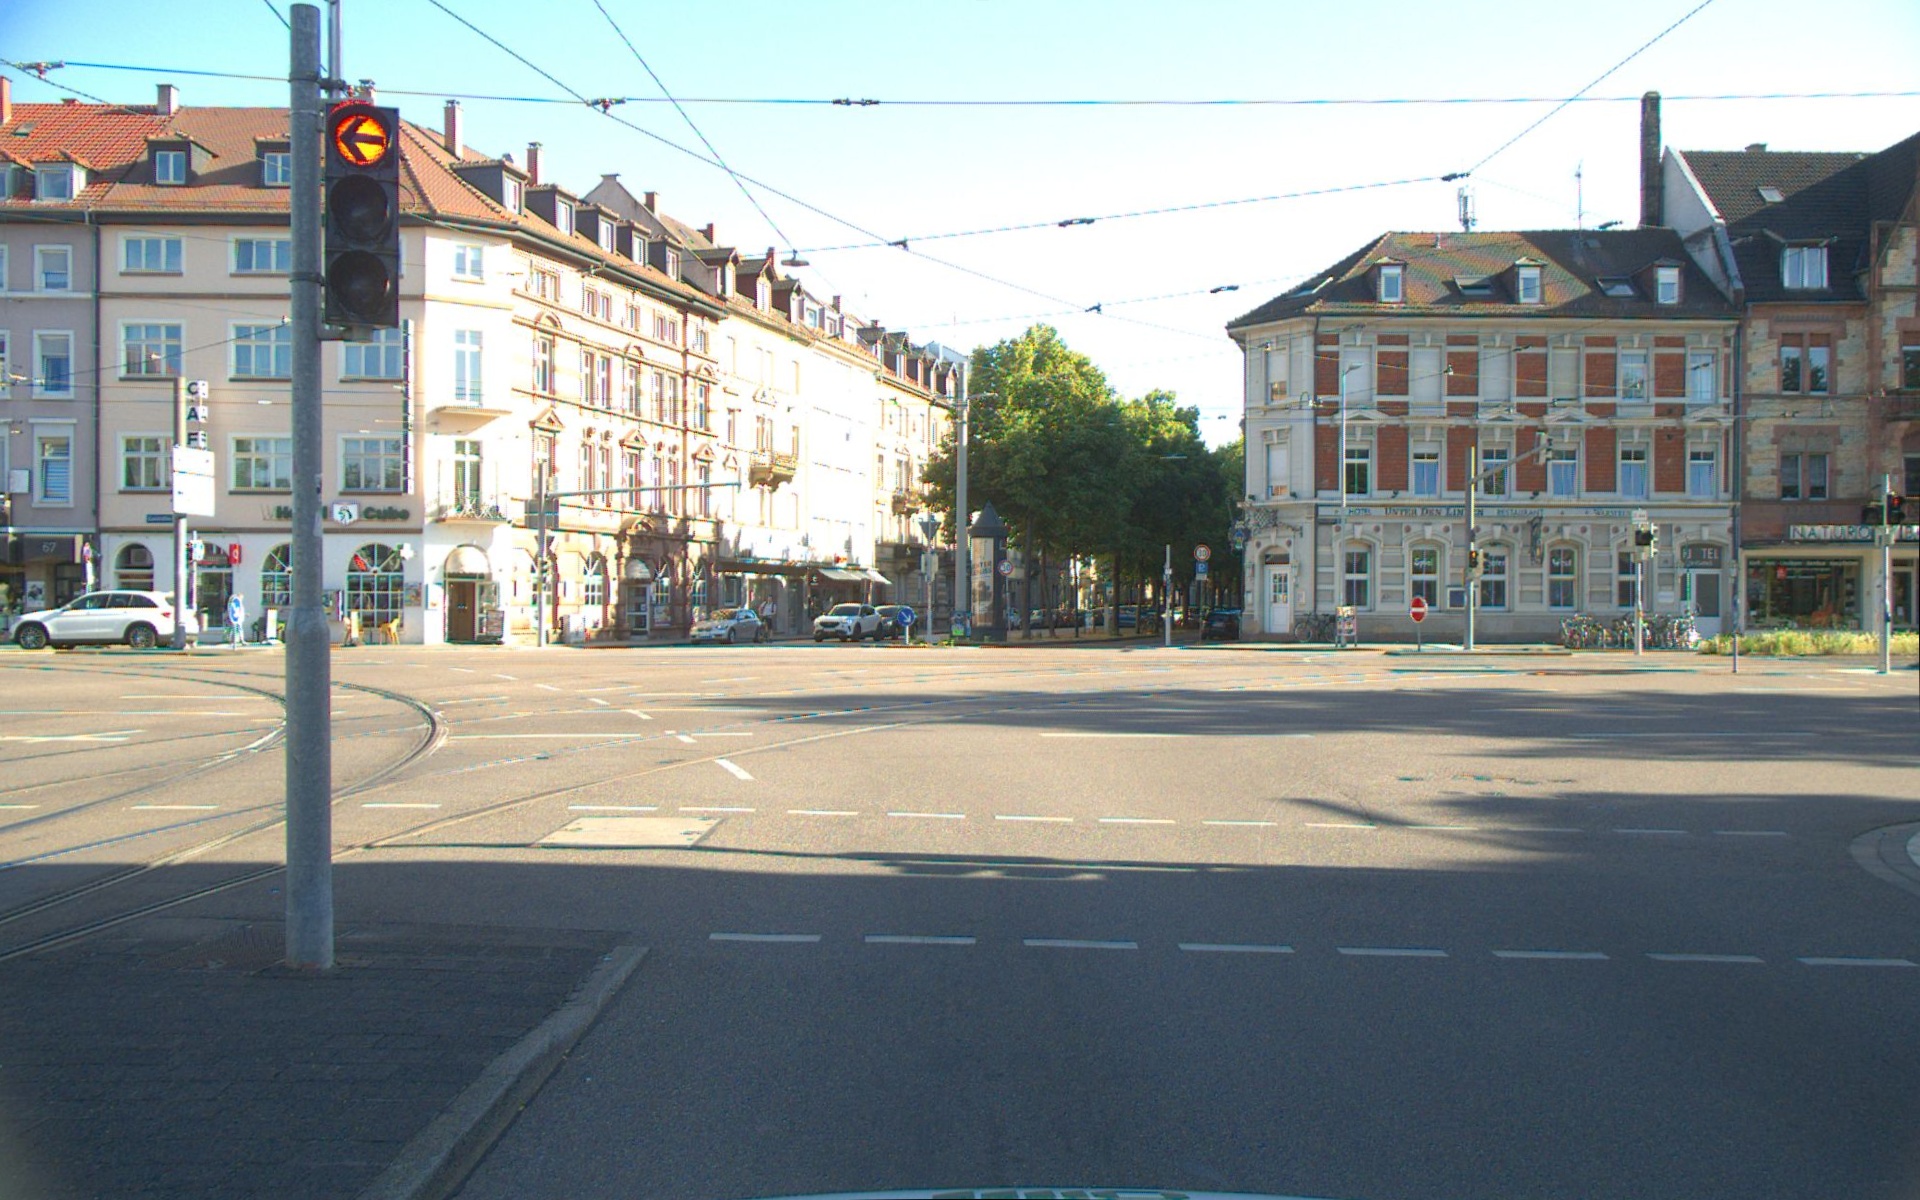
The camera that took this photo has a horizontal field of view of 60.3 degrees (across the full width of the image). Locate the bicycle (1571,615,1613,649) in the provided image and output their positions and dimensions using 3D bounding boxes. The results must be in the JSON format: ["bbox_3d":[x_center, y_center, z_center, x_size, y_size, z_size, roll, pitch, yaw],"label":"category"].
[{"bbox_3d":[20.465,1.038,53.567,0.593,1.069,1.641,0,0,-6],"label":"bicycle"}]

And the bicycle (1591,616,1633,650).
[{"bbox_3d":[21.116,1.050,53.593,0.593,1.069,1.641,0,0,-6],"label":"bicycle"}]

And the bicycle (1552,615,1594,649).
[{"bbox_3d":[19.824,1.027,53.511,0.593,1.069,1.641,0,0,-6],"label":"bicycle"}]

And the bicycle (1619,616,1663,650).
[{"bbox_3d":[21.942,1.063,53.325,0.593,1.069,1.641,0,0,-6],"label":"bicycle"}]

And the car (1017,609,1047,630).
[{"bbox_3d":[5.336,1.415,122.840,1.704,1.422,4.127,3,0,9],"label":"car"}]

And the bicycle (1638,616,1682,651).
[{"bbox_3d":[22.603,1.075,53.401,0.593,1.069,1.641,0,0,-6],"label":"bicycle"}]

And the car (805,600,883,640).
[{"bbox_3d":[-4.652,0.791,67.080,2.052,1.525,4.003,0,0,13],"label":"car"}]

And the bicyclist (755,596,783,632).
[{"bbox_3d":[-7.560,0.545,65.465,0.776,1.399,1.109,0,0,14],"label":"bicyclist"}]

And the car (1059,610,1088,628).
[{"bbox_3d":[9.423,1.576,136.502,1.704,1.422,4.127,3,0,13],"label":"car"}]

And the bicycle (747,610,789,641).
[{"bbox_3d":[-7.574,0.996,65.495,0.734,1.155,2.812,0,0,14],"label":"bicycle"}]

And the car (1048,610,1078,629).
[{"bbox_3d":[8.246,1.539,131.706,1.704,1.422,4.127,3,0,13],"label":"car"}]

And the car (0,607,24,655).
[{"bbox_3d":[-32.064,0.999,52.156,3.910,1.489,1.998,-1,1,-6],"label":"car"}]

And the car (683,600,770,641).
[{"bbox_3d":[-9.451,0.813,67.221,2.052,1.572,4.367,0,0,13],"label":"car"}]

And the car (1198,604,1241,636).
[{"bbox_3d":[12.974,1.005,82.465,1.616,1.551,3.755,0,-1,17],"label":"car"}]

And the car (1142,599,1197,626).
[{"bbox_3d":[16.959,1.015,133.664,4.026,1.952,1.746,3,0,21],"label":"car"}]

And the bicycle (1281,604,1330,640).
[{"bbox_3d":[11.975,0.766,57.302,1.603,1.243,0.607,0,0,16],"label":"bicycle"}]

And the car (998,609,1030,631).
[{"bbox_3d":[3.805,1.359,115.840,1.704,1.422,4.127,3,0,9],"label":"car"}]

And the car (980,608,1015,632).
[{"bbox_3d":[2.527,1.312,110.016,1.704,1.422,4.127,3,0,9],"label":"car"}]

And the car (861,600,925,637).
[{"bbox_3d":[-2.960,0.799,73.472,1.951,1.540,4.004,0,0,11],"label":"car"}]

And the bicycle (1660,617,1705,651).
[{"bbox_3d":[23.329,1.087,53.422,0.593,1.069,1.641,0,0,-6],"label":"bicycle"}]

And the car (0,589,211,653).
[{"bbox_3d":[-23.127,0.553,44.769,4.750,1.689,1.999,0,0,-3],"label":"car"}]

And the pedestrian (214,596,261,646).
[{"bbox_3d":[-23.560,0.690,53.954,1.043,1.618,1.042,0,0,1],"label":"pedestrian"}]

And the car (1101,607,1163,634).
[{"bbox_3d":[12.006,1.404,115.384,4.024,1.675,1.748,3,0,15],"label":"car"}]
